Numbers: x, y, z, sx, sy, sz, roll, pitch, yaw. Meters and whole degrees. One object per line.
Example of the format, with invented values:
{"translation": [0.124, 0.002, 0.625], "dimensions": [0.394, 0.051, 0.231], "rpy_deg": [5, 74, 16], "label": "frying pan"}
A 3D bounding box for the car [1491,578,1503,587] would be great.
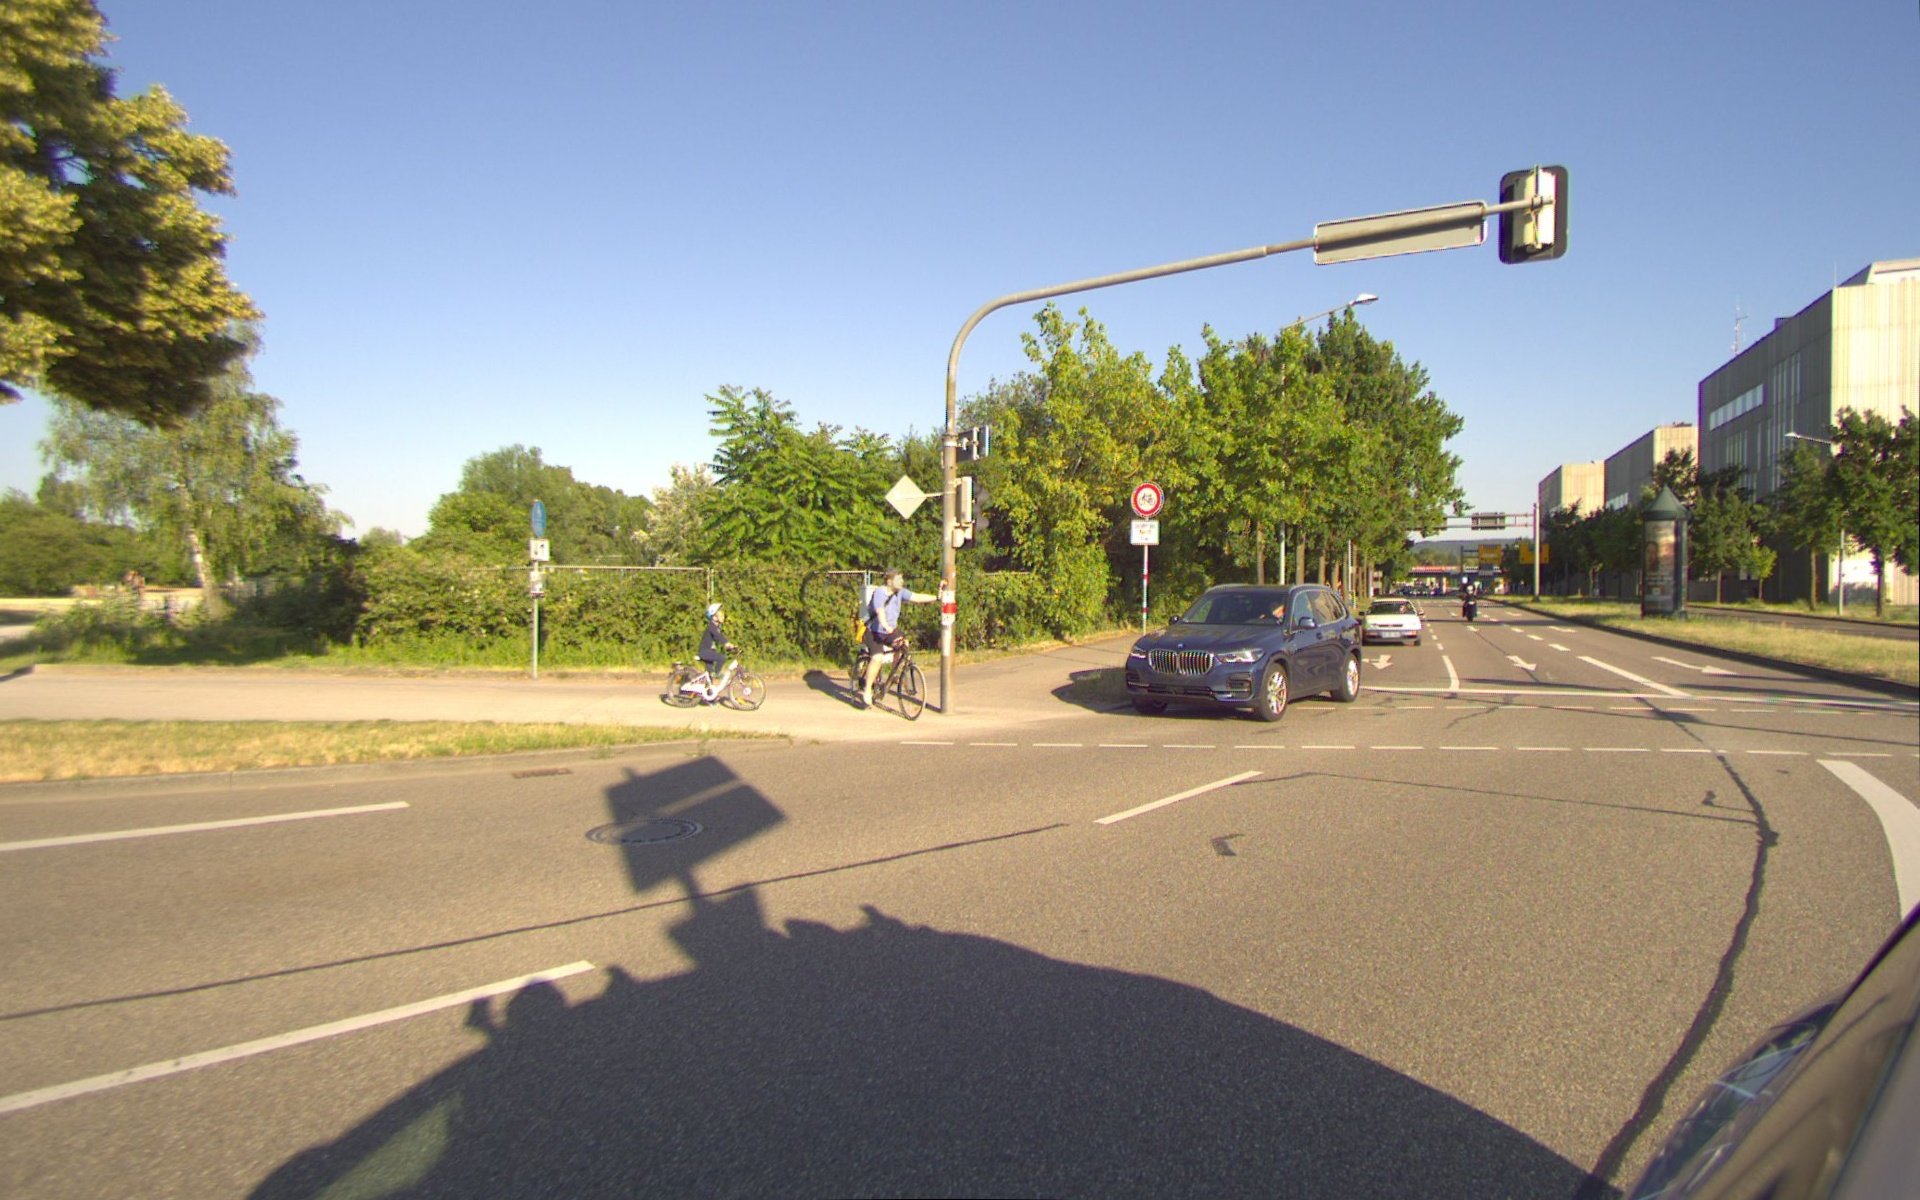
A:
{"translation": [92.929, -3.030, 175.094], "dimensions": [1.549, 1.594, 3.388], "rpy_deg": [0, 1, 22], "label": "car"}

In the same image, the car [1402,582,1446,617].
{"translation": [21.254, -0.043, 46.439], "dimensions": [1.708, 1.518, 4.180], "rpy_deg": [-1, 0, 24], "label": "car"}

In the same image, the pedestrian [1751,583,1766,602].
{"translation": [67.876, -0.658, 86.031], "dimensions": [0.771, 1.621, 0.901], "rpy_deg": [0, 0, 26], "label": "pedestrian"}

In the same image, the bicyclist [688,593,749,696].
{"translation": [-3.157, 0.570, 13.238], "dimensions": [0.640, 1.311, 0.465], "rpy_deg": [1, 0, 8], "label": "bicyclist"}

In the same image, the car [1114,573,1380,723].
{"translation": [4.215, 0.519, 14.317], "dimensions": [1.951, 1.748, 4.634], "rpy_deg": [-1, 1, 39], "label": "car"}

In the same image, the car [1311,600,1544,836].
{"translation": [4.313, 0.851, 9.427], "dimensions": [1.590, 1.630, 3.966], "rpy_deg": [0, 1, 25], "label": "car"}

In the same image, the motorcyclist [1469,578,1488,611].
{"translation": [24.928, -0.272, 48.676], "dimensions": [0.727, 1.530, 0.912], "rpy_deg": [1, 1, 24], "label": "motorcyclist"}

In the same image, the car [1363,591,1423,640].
{"translation": [13.487, 0.455, 31.471], "dimensions": [1.598, 1.416, 4.004], "rpy_deg": [0, -1, 24], "label": "car"}

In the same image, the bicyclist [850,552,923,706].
{"translation": [-0.964, 0.342, 13.159], "dimensions": [0.589, 1.922, 0.941], "rpy_deg": [0, 2, -28], "label": "bicyclist"}

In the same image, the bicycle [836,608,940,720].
{"translation": [-0.971, 0.781, 13.181], "dimensions": [0.597, 1.259, 1.913], "rpy_deg": [0, 2, -28], "label": "bicycle"}

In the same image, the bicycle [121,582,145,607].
{"translation": [-34.820, -0.215, 42.635], "dimensions": [0.499, 1.033, 2.045], "rpy_deg": [-1, 0, -32], "label": "bicycle"}

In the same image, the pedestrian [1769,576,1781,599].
{"translation": [68.397, -1.046, 84.975], "dimensions": [0.628, 1.864, 0.710], "rpy_deg": [0, 0, 26], "label": "pedestrian"}

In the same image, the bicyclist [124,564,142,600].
{"translation": [-34.875, -0.753, 42.689], "dimensions": [0.500, 1.495, 0.620], "rpy_deg": [-1, 0, -32], "label": "bicyclist"}

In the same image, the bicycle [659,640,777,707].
{"translation": [-3.164, 0.956, 13.242], "dimensions": [1.439, 0.796, 0.439], "rpy_deg": [1, 1, 8], "label": "bicycle"}

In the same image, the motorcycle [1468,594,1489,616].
{"translation": [24.850, 0.216, 48.496], "dimensions": [0.741, 0.995, 2.123], "rpy_deg": [0, 1, 23], "label": "motorcycle"}
